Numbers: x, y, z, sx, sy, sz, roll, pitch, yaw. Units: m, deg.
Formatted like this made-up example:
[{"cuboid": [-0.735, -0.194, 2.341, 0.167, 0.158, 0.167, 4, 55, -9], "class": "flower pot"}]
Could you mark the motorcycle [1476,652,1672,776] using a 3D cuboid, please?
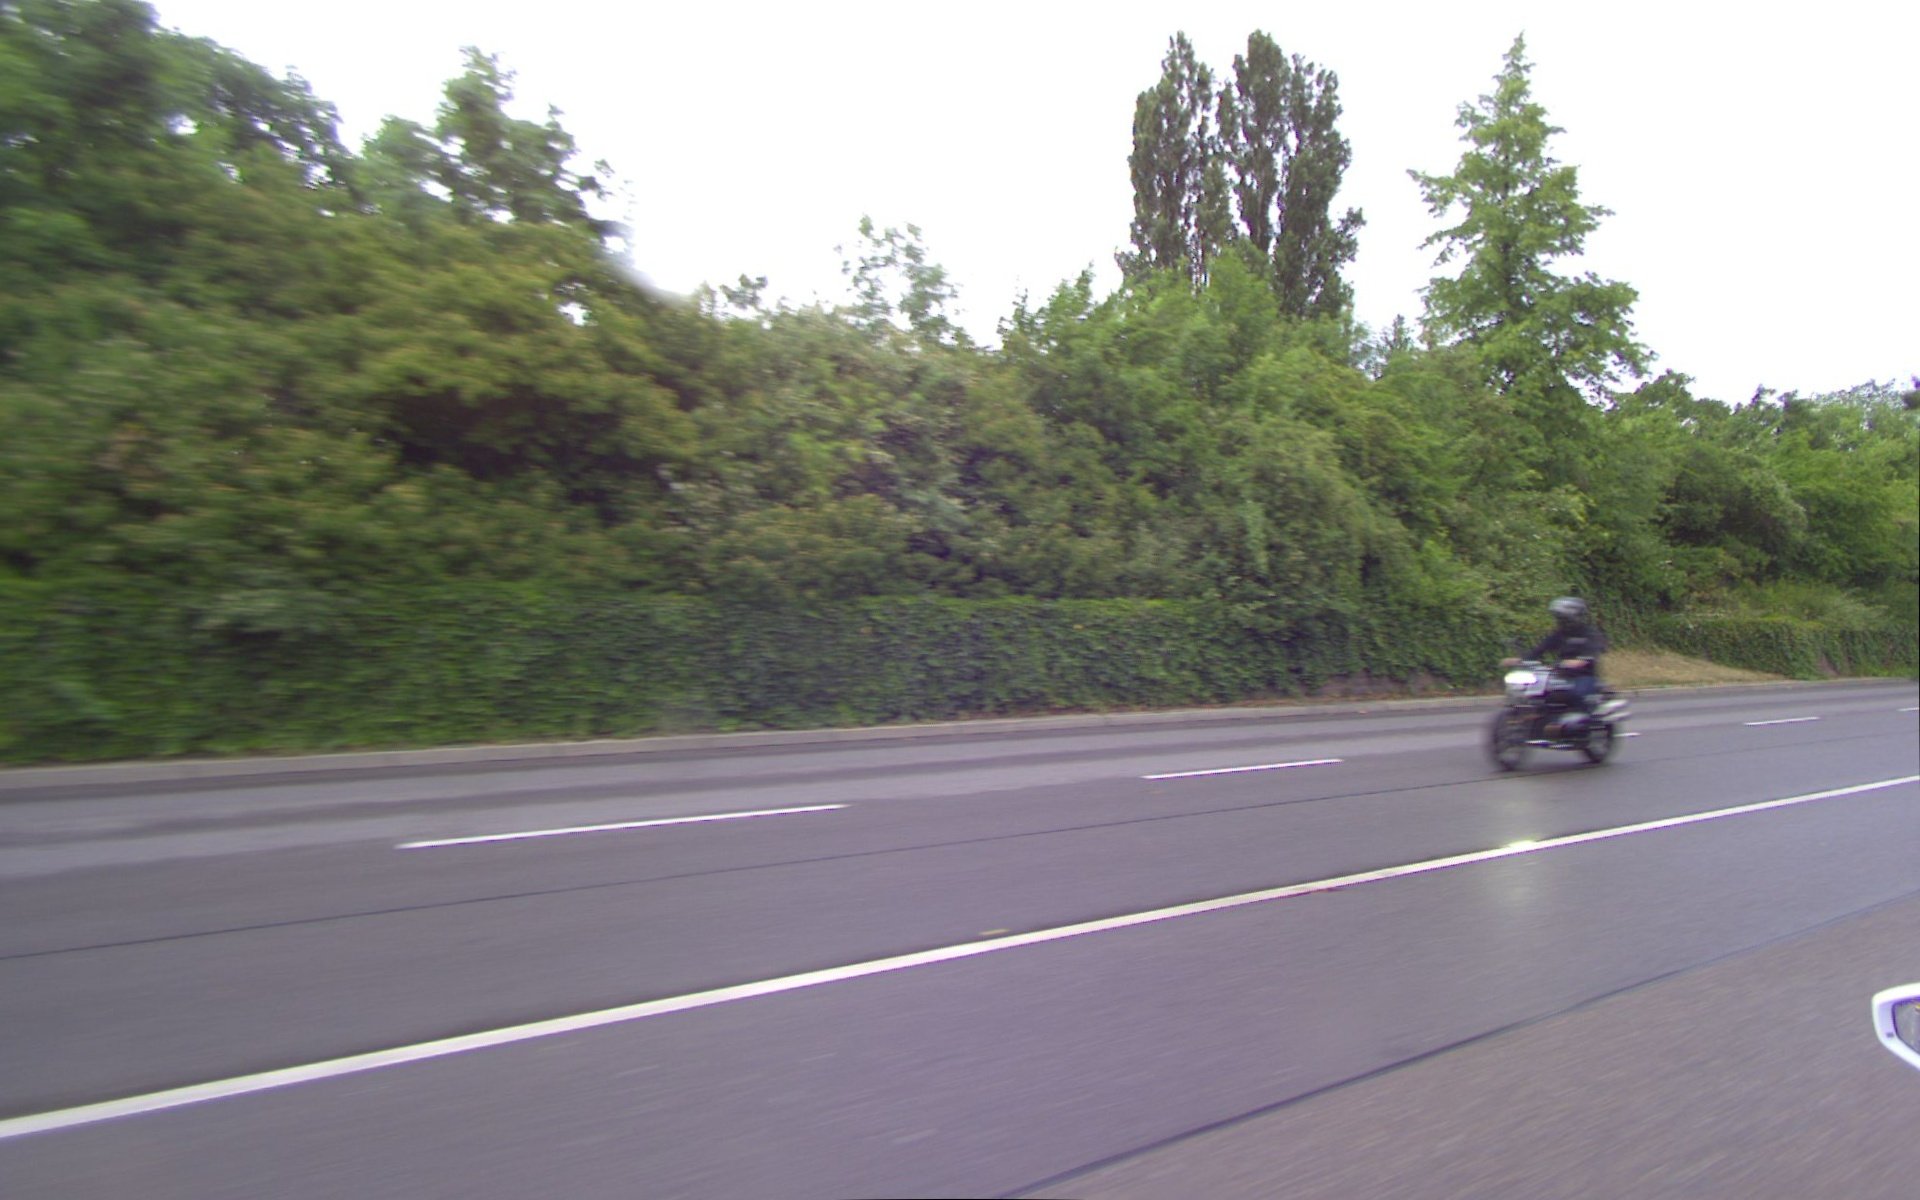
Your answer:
[{"cuboid": [6.458, 1.140, 10.537, 2.205, 1.146, 0.801, 2, -1, -30], "class": "motorcycle"}]

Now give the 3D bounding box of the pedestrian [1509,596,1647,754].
[{"cuboid": [6.484, 0.757, 10.551, 1.098, 1.562, 0.801, 2, -1, -30], "class": "pedestrian"}]
